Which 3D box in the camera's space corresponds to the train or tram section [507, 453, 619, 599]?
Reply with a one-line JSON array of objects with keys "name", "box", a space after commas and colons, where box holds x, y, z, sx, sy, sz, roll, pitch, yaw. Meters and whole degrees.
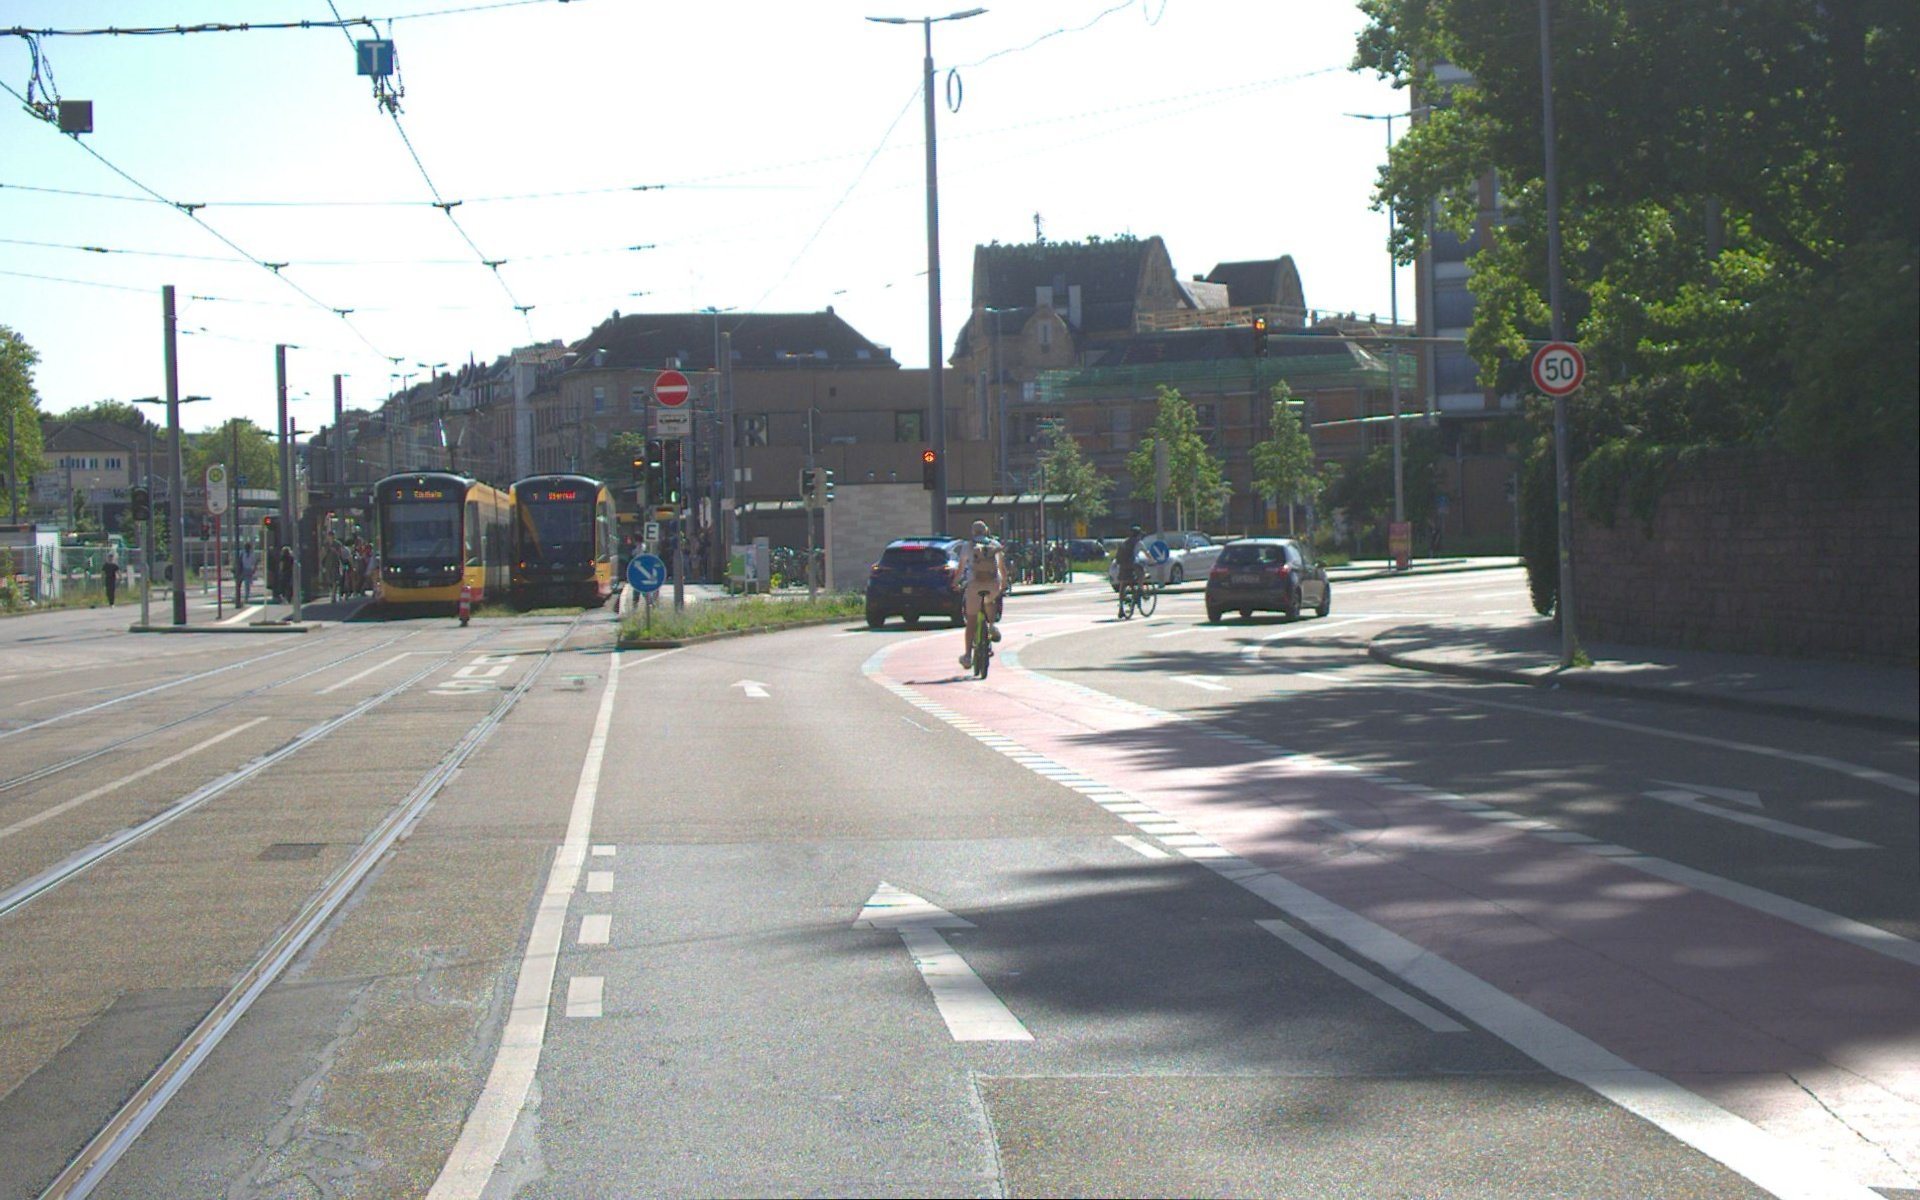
[{"name": "train or tram section", "box": [-10.784, -2.040, 94.145, 2.741, 3.639, 13.789, -2, 2, -6]}]

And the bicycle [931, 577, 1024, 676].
[{"name": "bicycle", "box": [0.218, 0.298, 40.648, 0.705, 1.101, 1.716, 1, 2, 15]}]

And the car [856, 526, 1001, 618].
[{"name": "car", "box": [-0.534, -0.535, 62.464, 1.790, 1.599, 3.710, 0, 1, 14]}]

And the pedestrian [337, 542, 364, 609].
[{"name": "pedestrian", "box": [-16.790, -0.673, 94.732, 0.626, 1.821, 0.662, -2, 1, -6]}]

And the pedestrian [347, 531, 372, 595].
[{"name": "pedestrian", "box": [-17.375, -1.075, 99.504, 0.626, 1.821, 0.662, -2, 1, -6]}]

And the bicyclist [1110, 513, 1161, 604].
[{"name": "bicyclist", "box": [3.331, -0.798, 65.191, 0.705, 1.694, 0.986, 1, 2, 20]}]

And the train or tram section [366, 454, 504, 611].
[{"name": "train or tram section", "box": [-13.318, -1.771, 88.123, 2.741, 3.639, 13.789, -2, 2, -6]}]

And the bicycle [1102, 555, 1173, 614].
[{"name": "bicycle", "box": [3.391, -0.305, 65.397, 0.705, 1.051, 2.311, 1, 2, 20]}]

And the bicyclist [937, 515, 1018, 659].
[{"name": "bicyclist", "box": [0.210, -0.170, 40.596, 0.705, 1.669, 1.100, 0, 1, 15]}]

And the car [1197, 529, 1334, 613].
[{"name": "car", "box": [5.739, -0.563, 64.210, 1.790, 1.506, 3.709, 0, 1, 18]}]

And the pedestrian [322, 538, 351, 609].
[{"name": "pedestrian", "box": [-16.198, -0.690, 89.309, 0.626, 1.821, 0.662, -2, 1, -6]}]

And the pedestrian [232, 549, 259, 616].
[{"name": "pedestrian", "box": [-19.459, -0.478, 93.637, 0.626, 1.821, 0.662, -2, 1, -6]}]

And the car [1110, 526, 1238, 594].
[{"name": "car", "box": [5.338, -1.009, 85.461, 1.704, 1.638, 3.706, 0, 2, 30]}]

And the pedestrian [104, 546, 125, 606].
[{"name": "pedestrian", "box": [-28.568, -0.826, 116.153, 0.525, 2.007, 0.522, -2, 1, -1]}]

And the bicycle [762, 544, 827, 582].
[{"name": "bicycle", "box": [-5.065, -1.141, 105.048, 1.933, 1.099, 0.599, -2, 1, -7]}]
